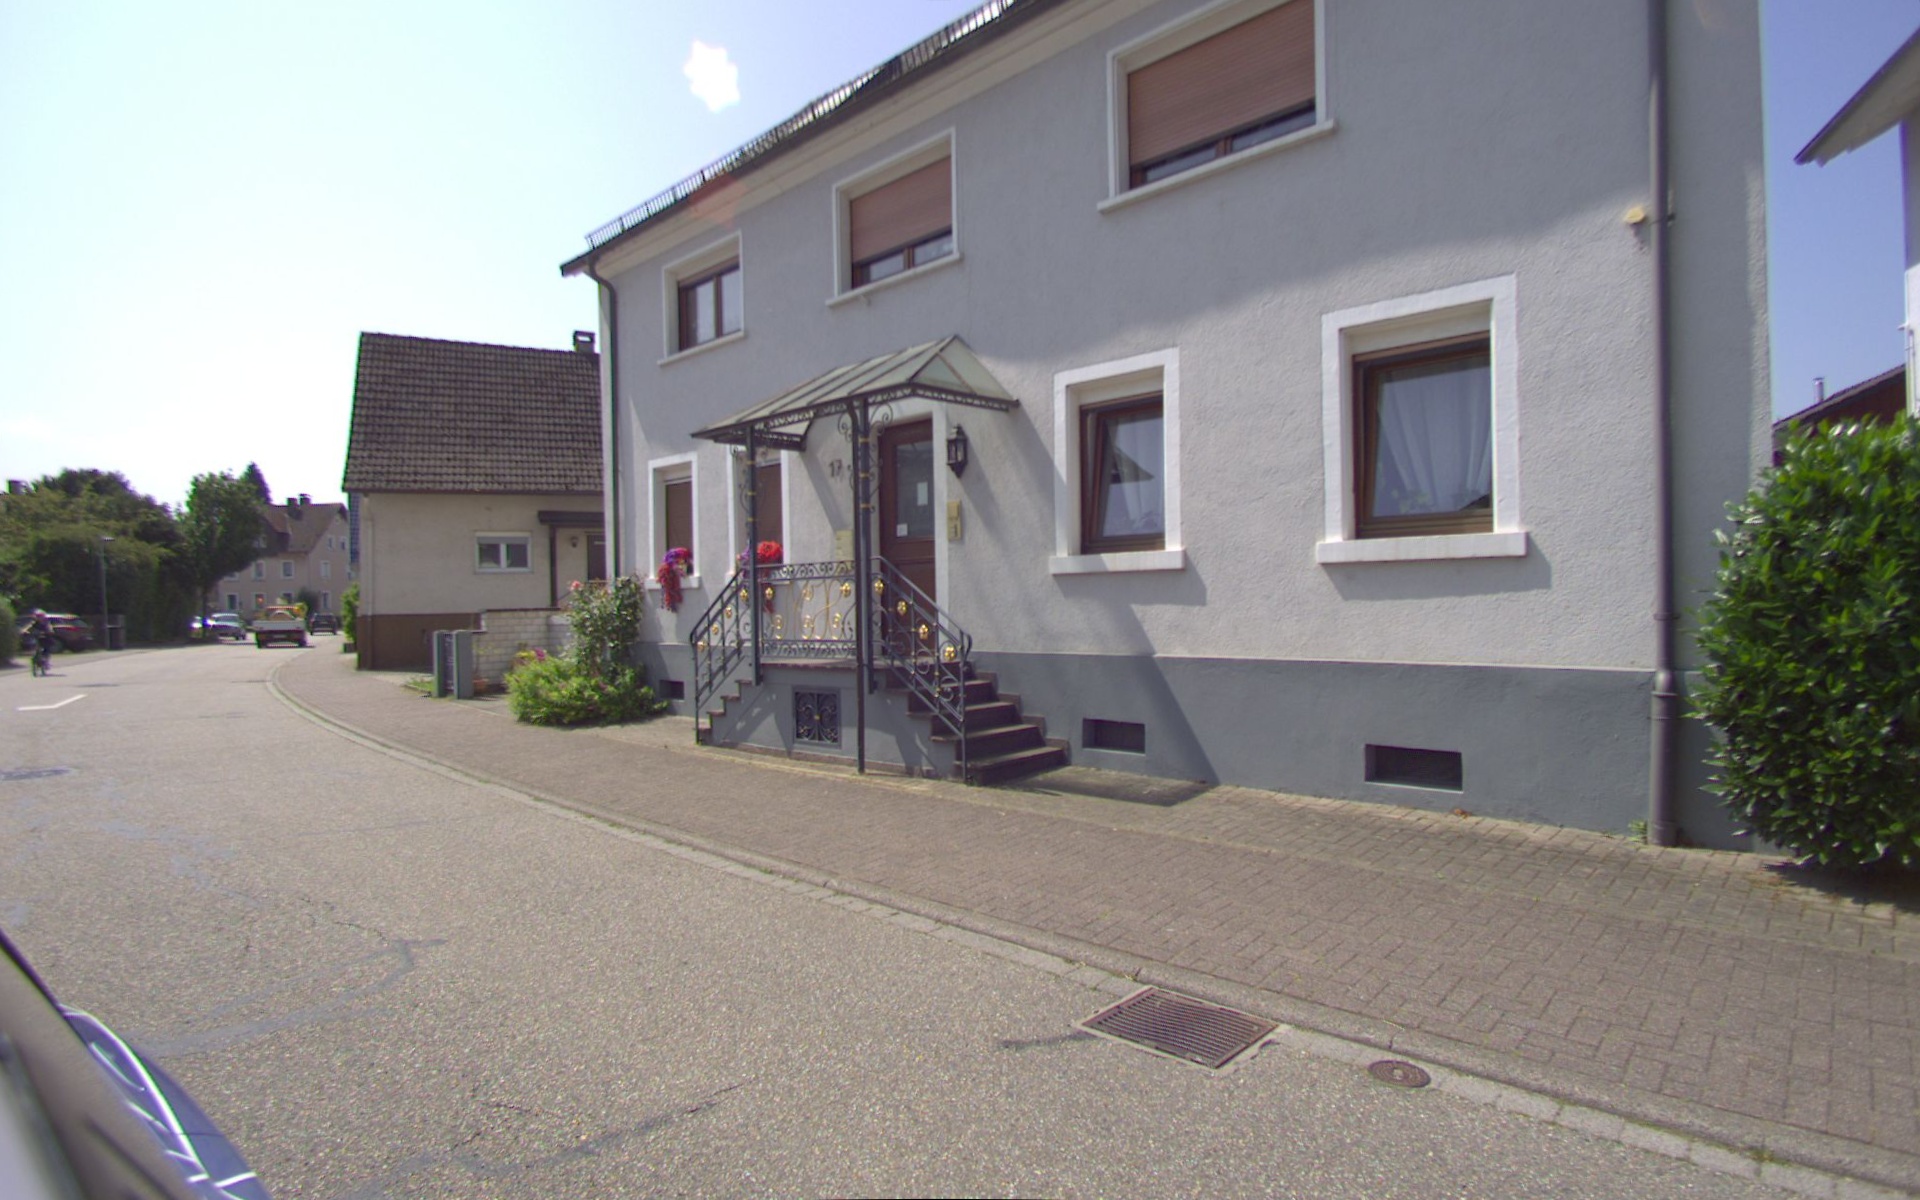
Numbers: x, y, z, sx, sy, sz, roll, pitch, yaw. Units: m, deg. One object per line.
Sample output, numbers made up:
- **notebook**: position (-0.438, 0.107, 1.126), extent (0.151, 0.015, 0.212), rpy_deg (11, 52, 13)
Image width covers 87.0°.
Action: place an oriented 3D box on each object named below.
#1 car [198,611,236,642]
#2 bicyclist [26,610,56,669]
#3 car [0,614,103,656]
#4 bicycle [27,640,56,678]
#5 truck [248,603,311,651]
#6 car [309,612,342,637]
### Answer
- **car**: position (-46.169, 1.643, 62.943), extent (1.753, 1.855, 3.910), rpy_deg (0, -1, -35)
- **bicyclist**: position (-23.976, 1.010, 26.406), extent (0.539, 1.501, 0.797), rpy_deg (-1, 0, -44)
- **car**: position (-38.667, 1.429, 42.069), extent (4.218, 1.684, 2.072), rpy_deg (0, -1, -26)
- **bicycle**: position (-23.831, 1.516, 26.262), extent (0.514, 0.911, 1.314), rpy_deg (-1, 0, -44)
- **truck**: position (-33.107, 1.260, 49.418), extent (2.230, 2.151, 6.785), rpy_deg (0, -1, -31)
- **car**: position (-50.003, 1.912, 79.756), extent (1.966, 1.955, 4.012), rpy_deg (0, -1, -29)
